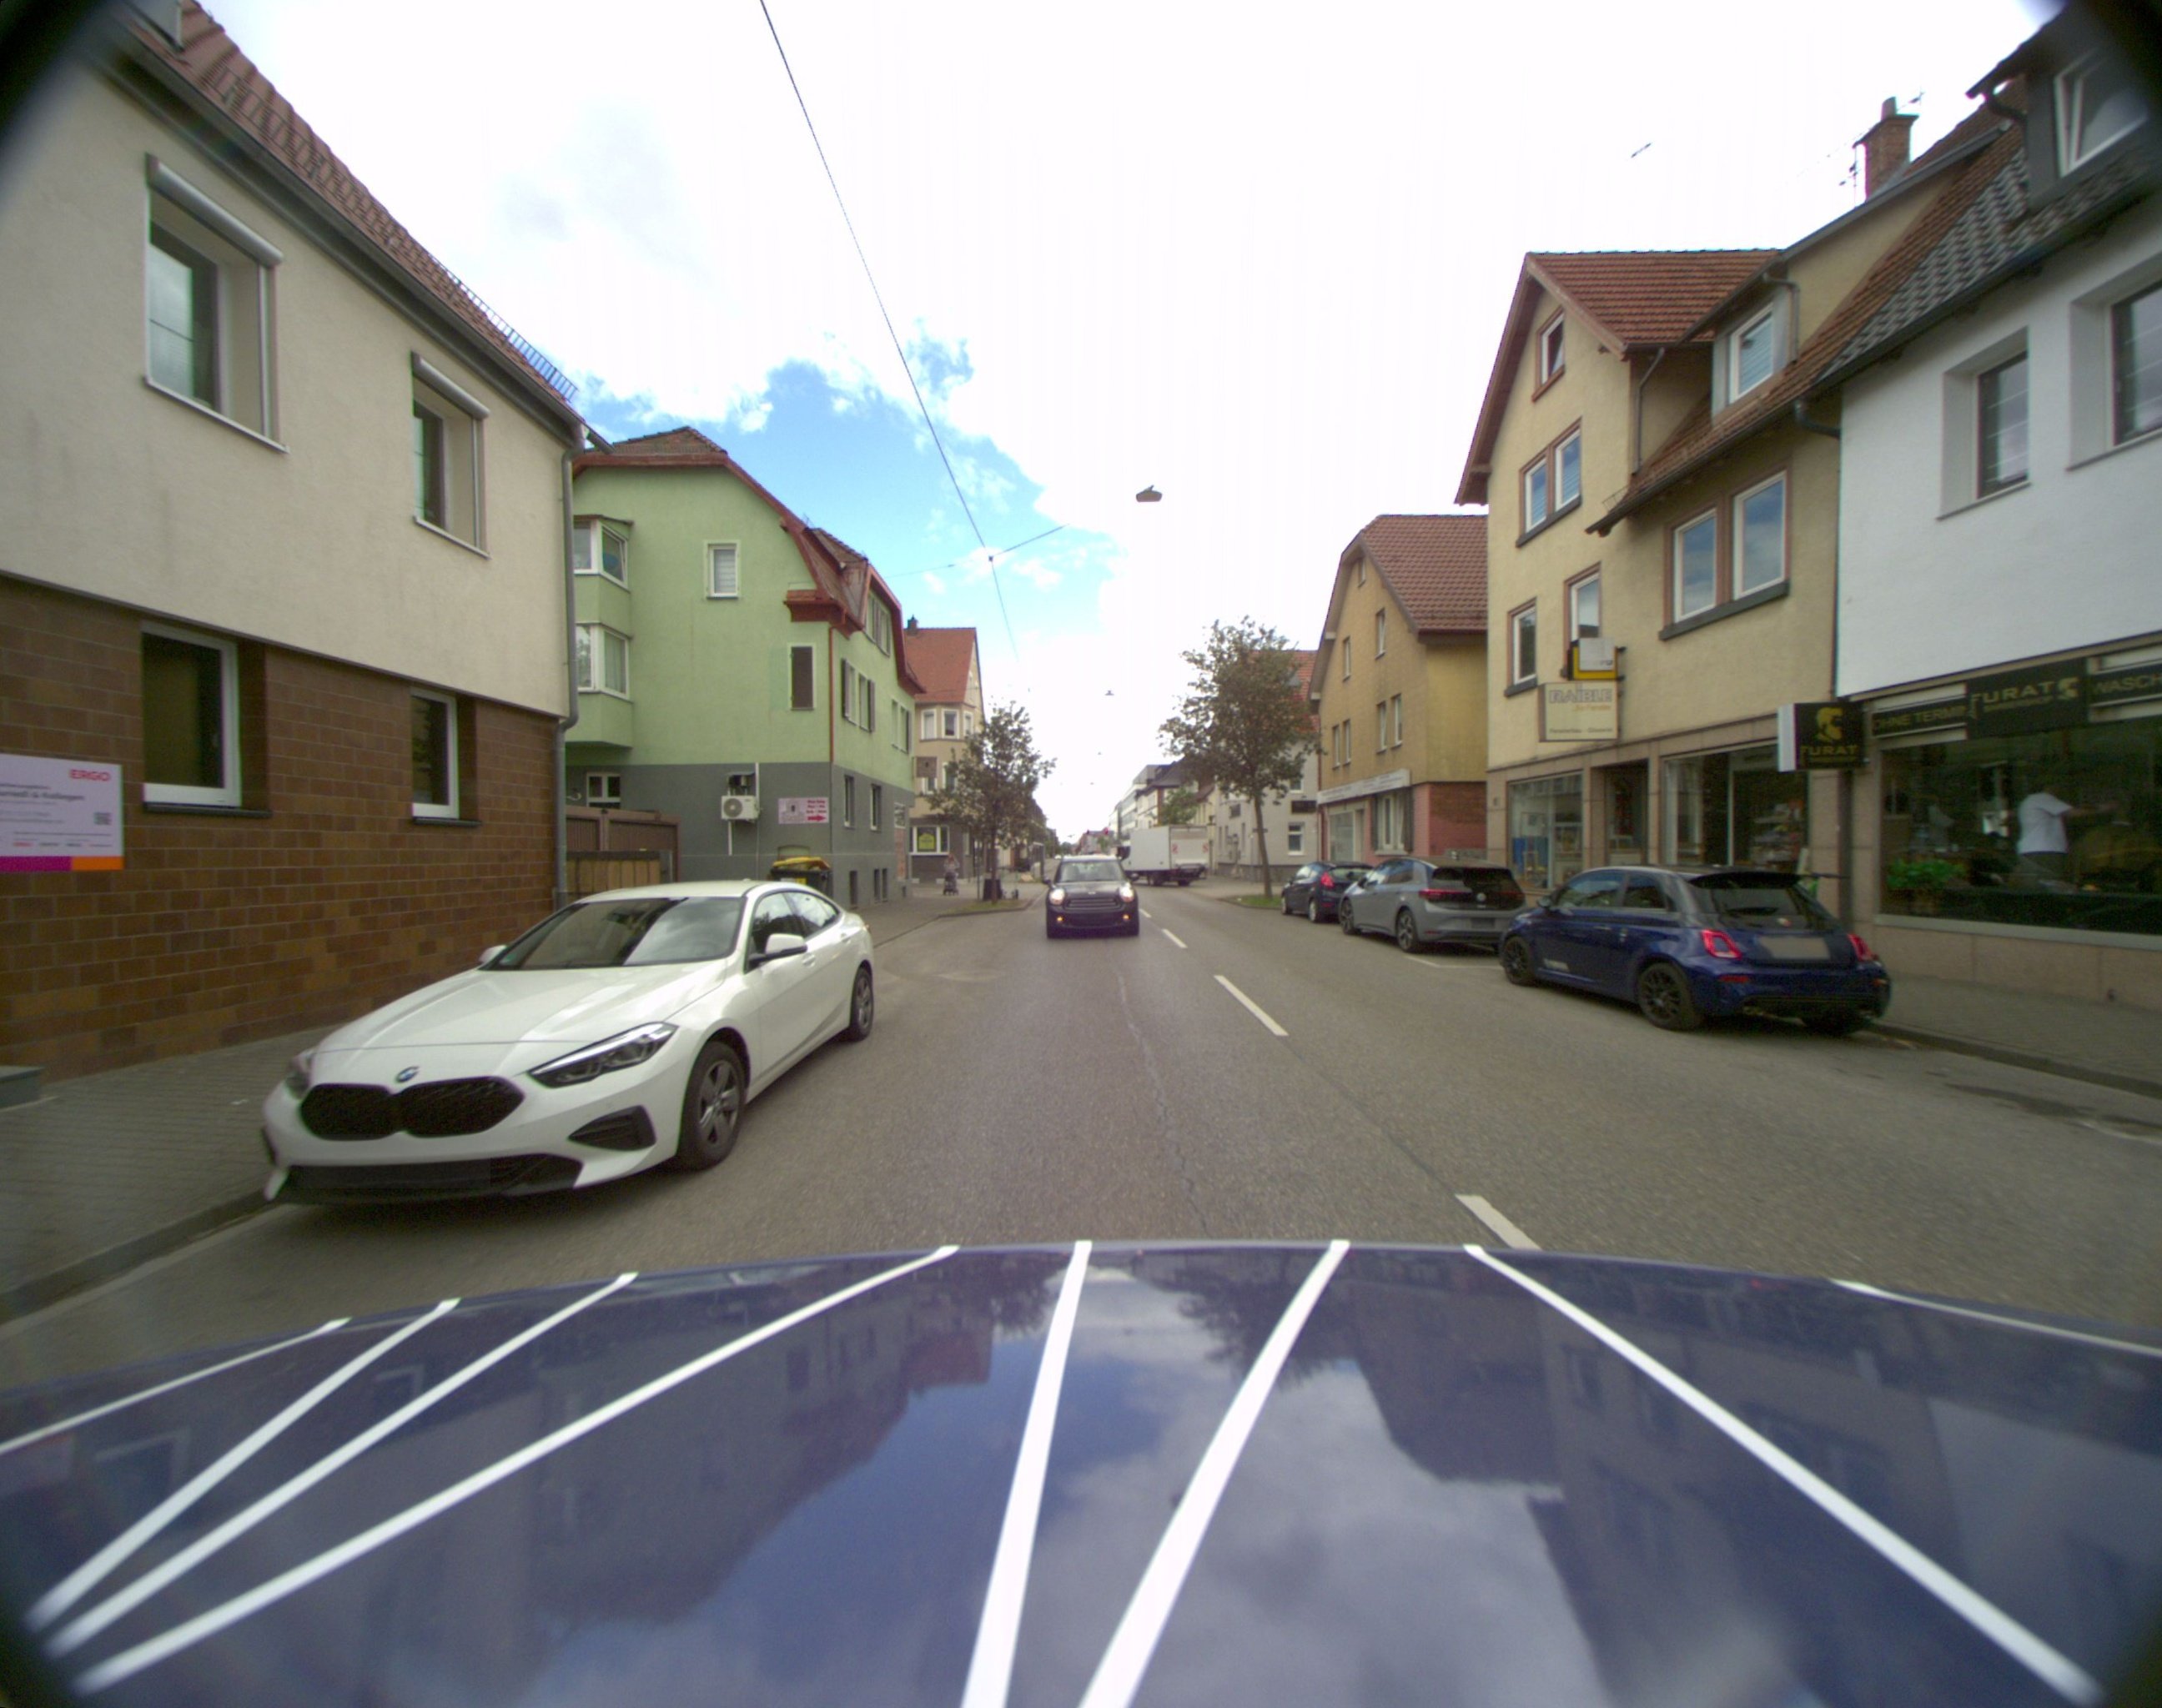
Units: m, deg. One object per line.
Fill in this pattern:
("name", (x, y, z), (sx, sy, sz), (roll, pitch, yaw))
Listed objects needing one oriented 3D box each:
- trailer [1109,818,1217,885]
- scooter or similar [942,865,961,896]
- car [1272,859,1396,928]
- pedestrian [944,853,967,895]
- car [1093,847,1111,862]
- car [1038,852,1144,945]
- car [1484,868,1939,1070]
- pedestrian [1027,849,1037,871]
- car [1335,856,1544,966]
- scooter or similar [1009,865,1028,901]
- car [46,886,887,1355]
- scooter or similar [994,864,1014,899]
("trailer", (4.200, -0.180, 40.767), (2.514, 3.201, 7.120), (-2, 1, -24))
("scooter or similar", (-5.231, 1.059, 30.751), (0.591, 1.225, 0.891), (-2, 1, 0))
("car", (6.050, 0.883, 18.629), (1.687, 1.416, 3.930), (1, 1, -1))
("pedestrian", (-5.231, 0.809, 31.665), (0.752, 1.710, 0.900), (-2, 1, 0))
("car", (2.499, -0.001, 91.646), (1.998, 1.786, 4.276), (0, 1, 0))
("car", (0.178, 0.803, 15.932), (1.847, 1.571, 4.428), (-3, 1, 0))
("car", (5.933, 0.941, 7.805), (1.686, 1.484, 3.591), (1, 1, 1))
("pedestrian", (-4.555, 0.543, 70.726), (0.826, 2.062, 1.010), (2, 1, -4))
("car", (5.958, 0.841, 13.225), (1.714, 1.557, 4.113), (1, 1, 1))
("scooter or similar", (-2.332, 1.070, 28.449), (0.503, 1.228, 1.942), (-2, 1, 0))
("car", (-2.770, 1.058, 4.910), (1.836, 1.437, 4.331), (-2, 0, 0))
("scooter or similar", (-2.869, 1.006, 28.441), (0.503, 1.228, 1.942), (-2, 1, 0))
